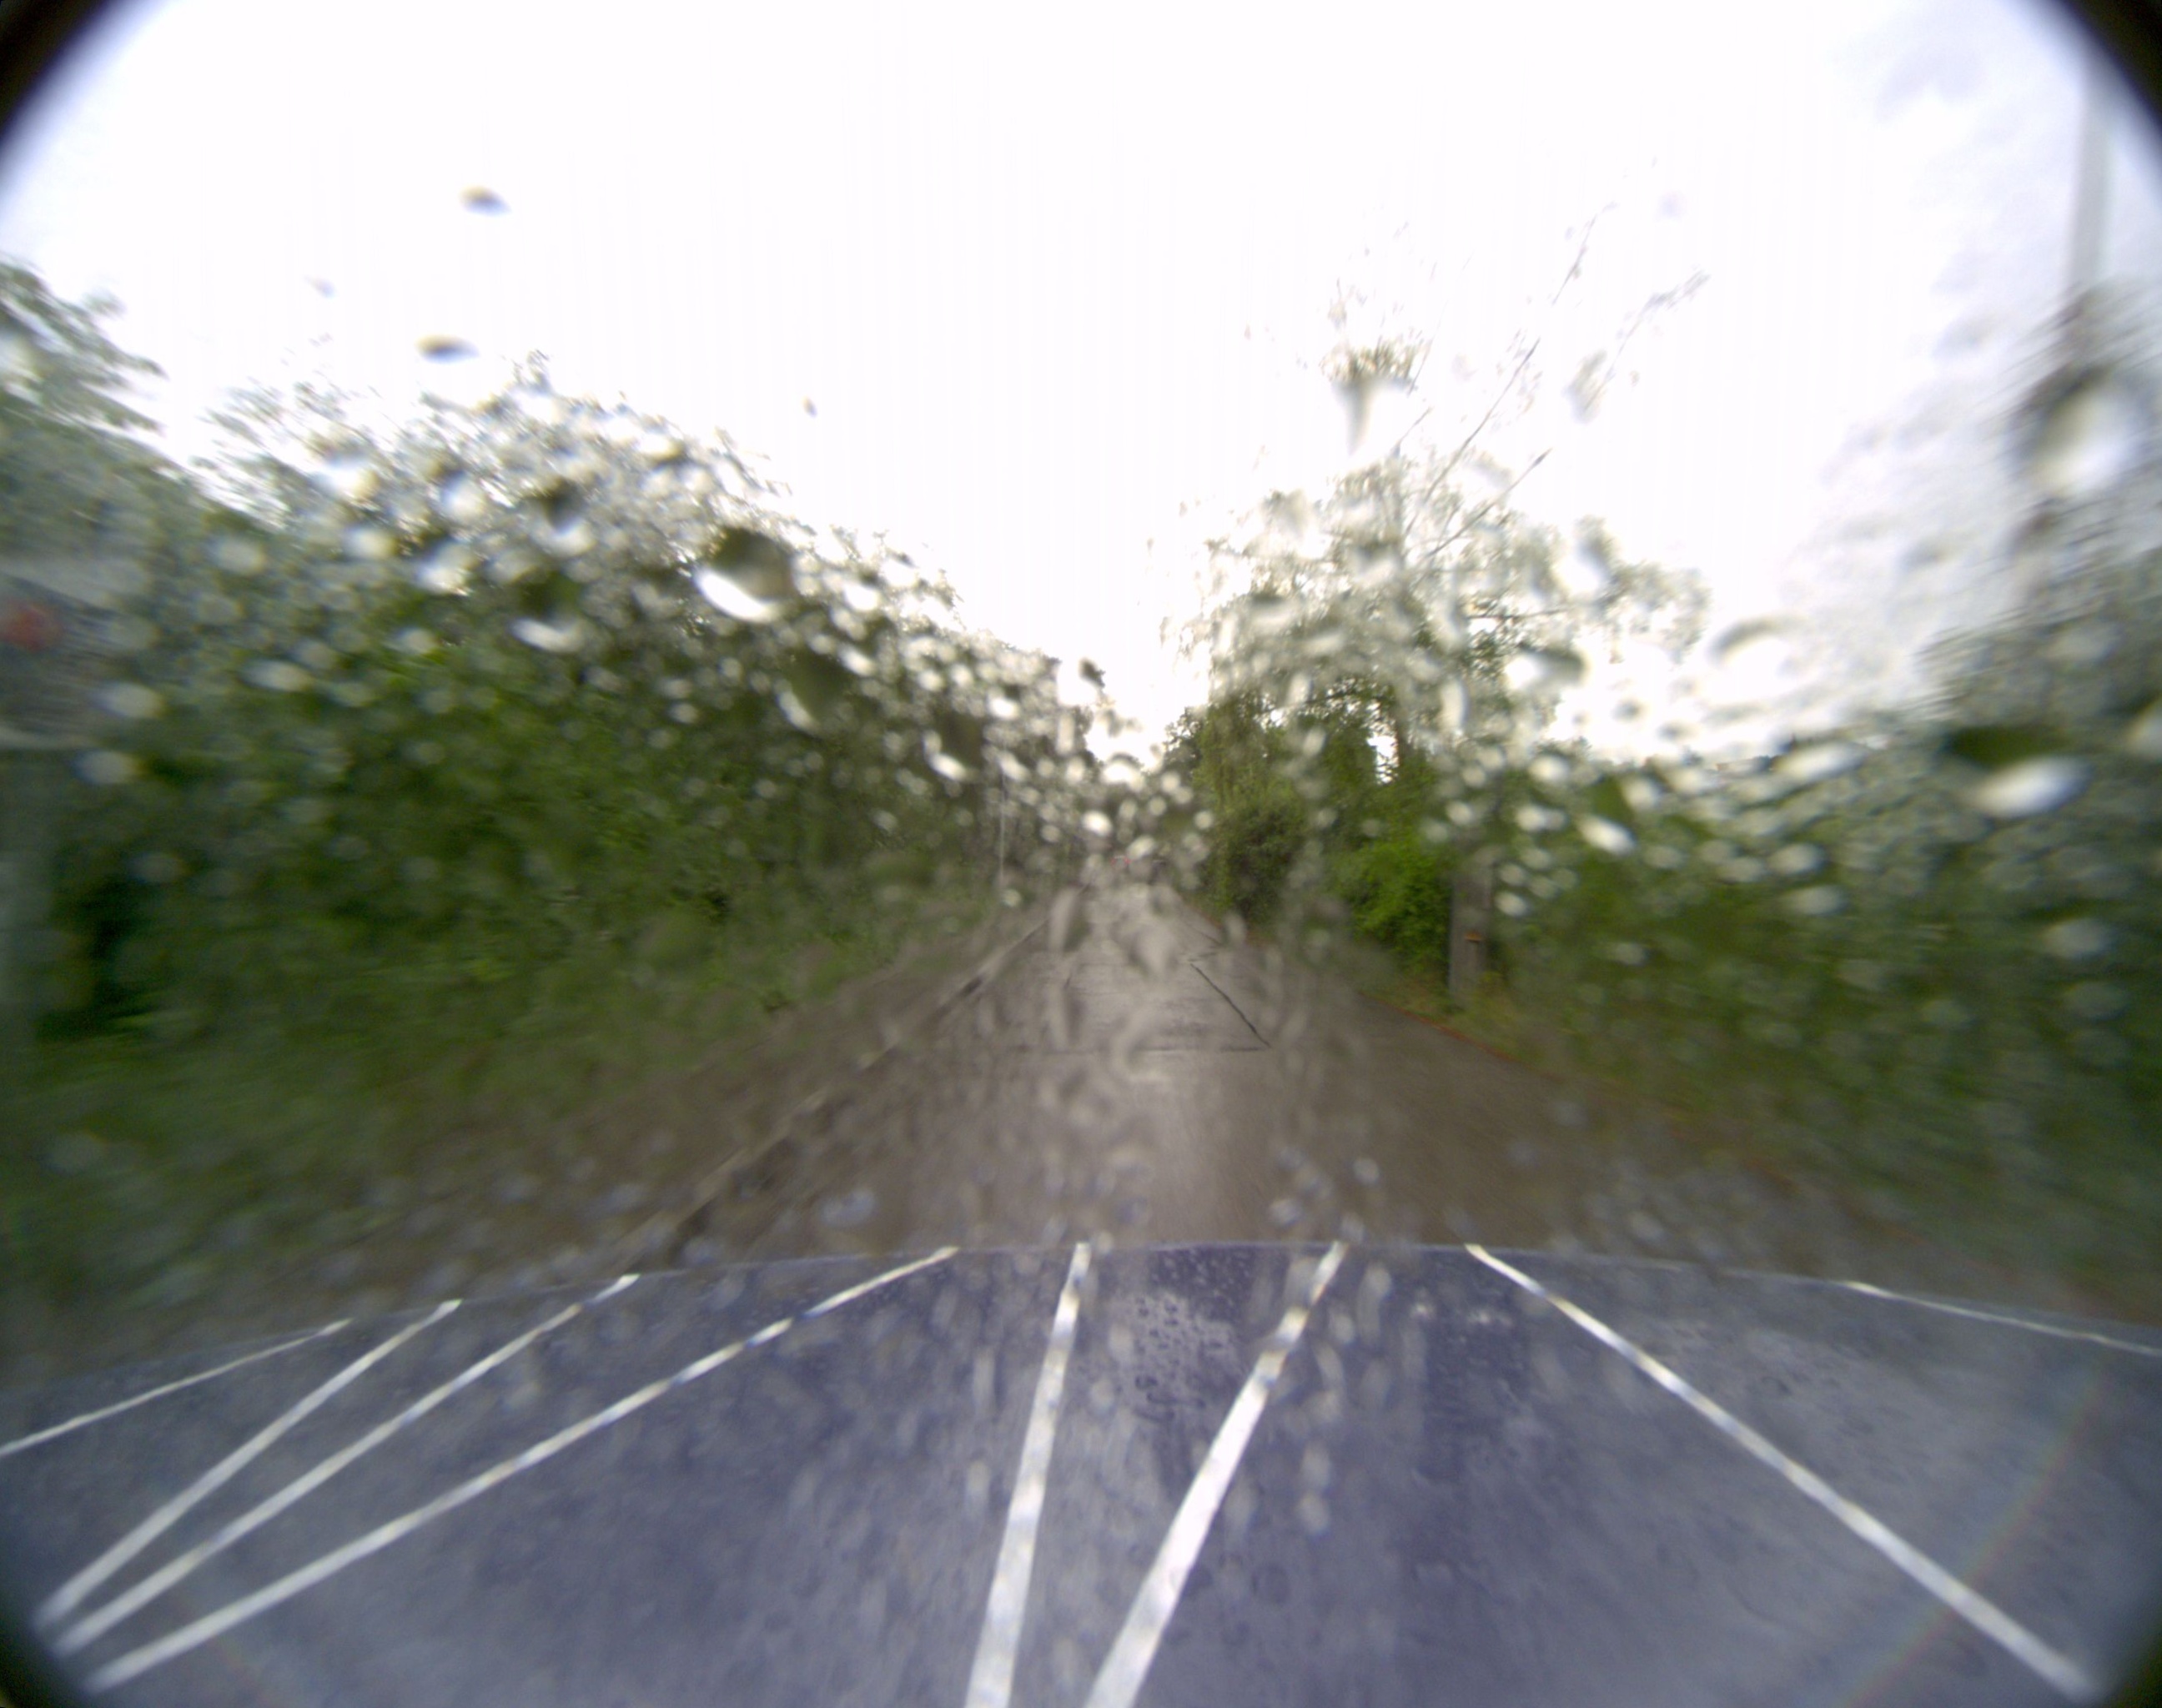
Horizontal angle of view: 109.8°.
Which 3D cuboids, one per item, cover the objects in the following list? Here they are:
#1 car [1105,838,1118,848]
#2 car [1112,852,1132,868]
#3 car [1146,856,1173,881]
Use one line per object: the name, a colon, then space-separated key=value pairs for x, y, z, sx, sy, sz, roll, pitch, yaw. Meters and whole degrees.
car: x=4.894 y=-1.768 z=122.142 sx=1.960 sy=1.608 sz=4.681 roll=-1 pitch=0 yaw=2
car: x=4.361 y=0.622 z=81.701 sx=1.927 sy=1.611 sz=4.462 roll=-1 pitch=-1 yaw=0
car: x=5.863 y=1.069 z=56.947 sx=1.689 sy=1.717 sz=4.069 roll=2 pitch=0 yaw=2
